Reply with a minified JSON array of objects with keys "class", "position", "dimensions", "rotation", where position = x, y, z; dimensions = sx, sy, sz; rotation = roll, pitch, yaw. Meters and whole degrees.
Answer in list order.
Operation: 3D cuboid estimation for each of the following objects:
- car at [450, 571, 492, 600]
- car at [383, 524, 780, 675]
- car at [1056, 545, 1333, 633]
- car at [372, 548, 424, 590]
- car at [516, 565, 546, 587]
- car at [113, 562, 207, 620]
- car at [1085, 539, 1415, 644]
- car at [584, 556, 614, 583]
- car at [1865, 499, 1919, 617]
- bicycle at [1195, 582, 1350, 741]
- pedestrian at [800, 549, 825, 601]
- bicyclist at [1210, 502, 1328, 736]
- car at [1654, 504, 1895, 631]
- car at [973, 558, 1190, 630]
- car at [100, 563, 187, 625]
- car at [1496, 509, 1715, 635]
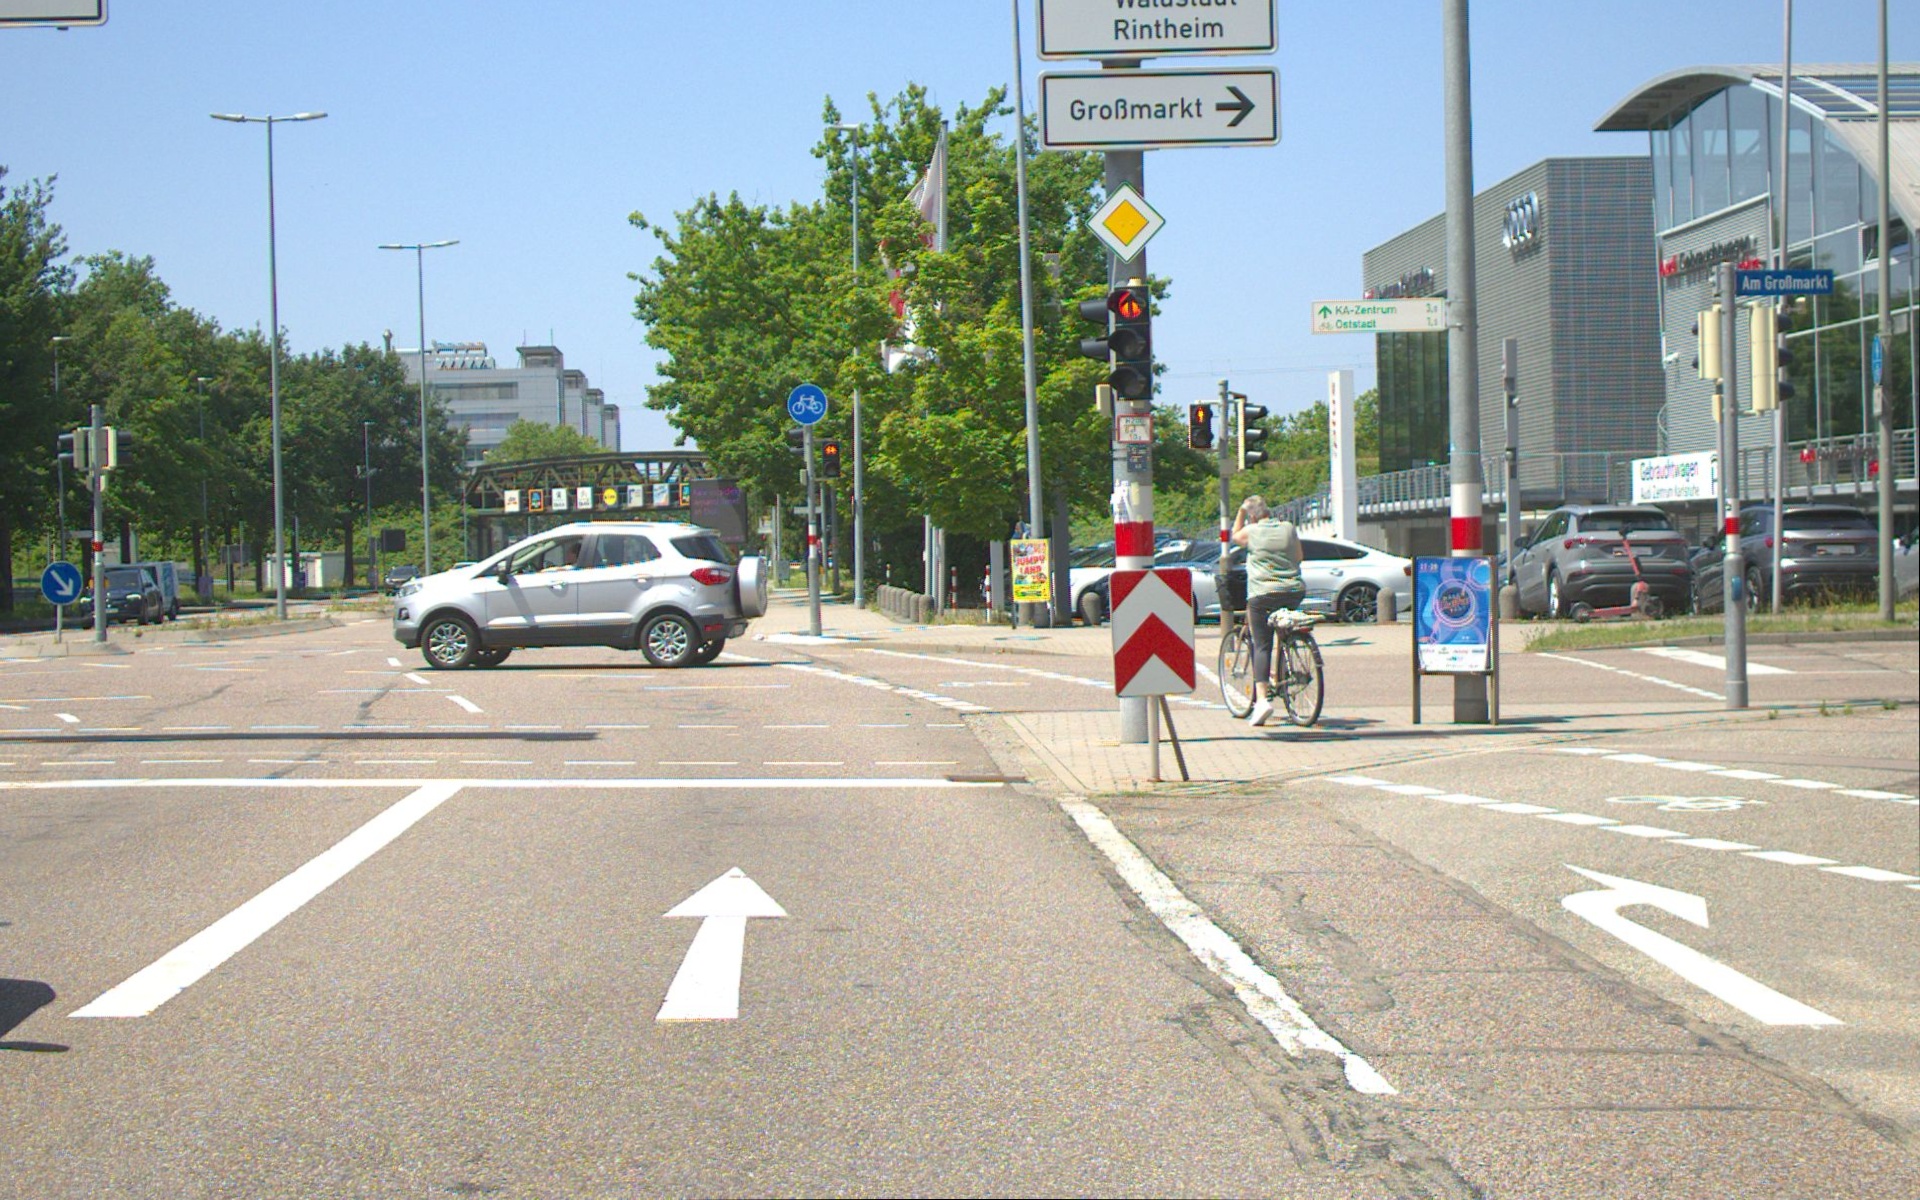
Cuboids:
[{"class":"car","position":[-29.005,-0.848,204.037],"dimensions":[1.926,1.659,4.089],"rotation":[-1,0,0]},{"class":"car","position":[-4.283,-0.015,39.200],"dimensions":[4.196,1.646,1.714],"rotation":[0,1,7]},{"class":"car","position":[4.223,-0.213,62.299],"dimensions":[4.741,1.452,2.000],"rotation":[-1,1,-5]},{"class":"car","position":[-29.275,-1.603,179.249],"dimensions":[1.993,2.007,4.000],"rotation":[-1,-1,1]},{"class":"car","position":[-29.560,-1.652,237.052],"dimensions":[1.732,1.422,3.706],"rotation":[-3,1,-3]},{"class":"car","position":[-23.114,-0.273,99.502],"dimensions":[1.874,1.593,4.497],"rotation":[-1,0,-3]},{"class":"car","position":[4.325,-0.144,51.767],"dimensions":[4.741,1.452,2.000],"rotation":[-1,1,-1]},{"class":"car","position":[-23.940,-2.015,227.894],"dimensions":[1.772,1.722,4.000],"rotation":[-1,0,-3]},{"class":"car","position":[14.310,-0.609,47.879],"dimensions":[1.993,1.634,4.442],"rotation":[-1,1,-3]},{"class":"bicycle","position":[2.355,0.442,26.147],"dimensions":[0.786,1.123,1.921],"rotation":[0,1,-7]},{"class":"pedestrian","position":[-4.274,-0.727,99.639],"dimensions":[0.668,1.505,0.736],"rotation":[-1,1,-3]},{"class":"bicyclist","position":[2.336,0.133,26.061],"dimensions":[0.733,1.743,0.754],"rotation":[0,1,-7]},{"class":"car","position":[11.234,-0.493,47.741],"dimensions":[1.993,1.634,4.558],"rotation":[-1,1,-3]},{"class":"car","position":[2.770,-0.151,79.135],"dimensions":[4.741,1.452,2.000],"rotation":[-2,1,-4]},{"class":"car","position":[-27.681,-0.227,116.637],"dimensions":[1.993,2.001,4.765],"rotation":[-1,0,-3]},{"class":"car","position":[8.876,-0.419,47.638],"dimensions":[1.993,1.634,4.269],"rotation":[-1,1,-3]}]
